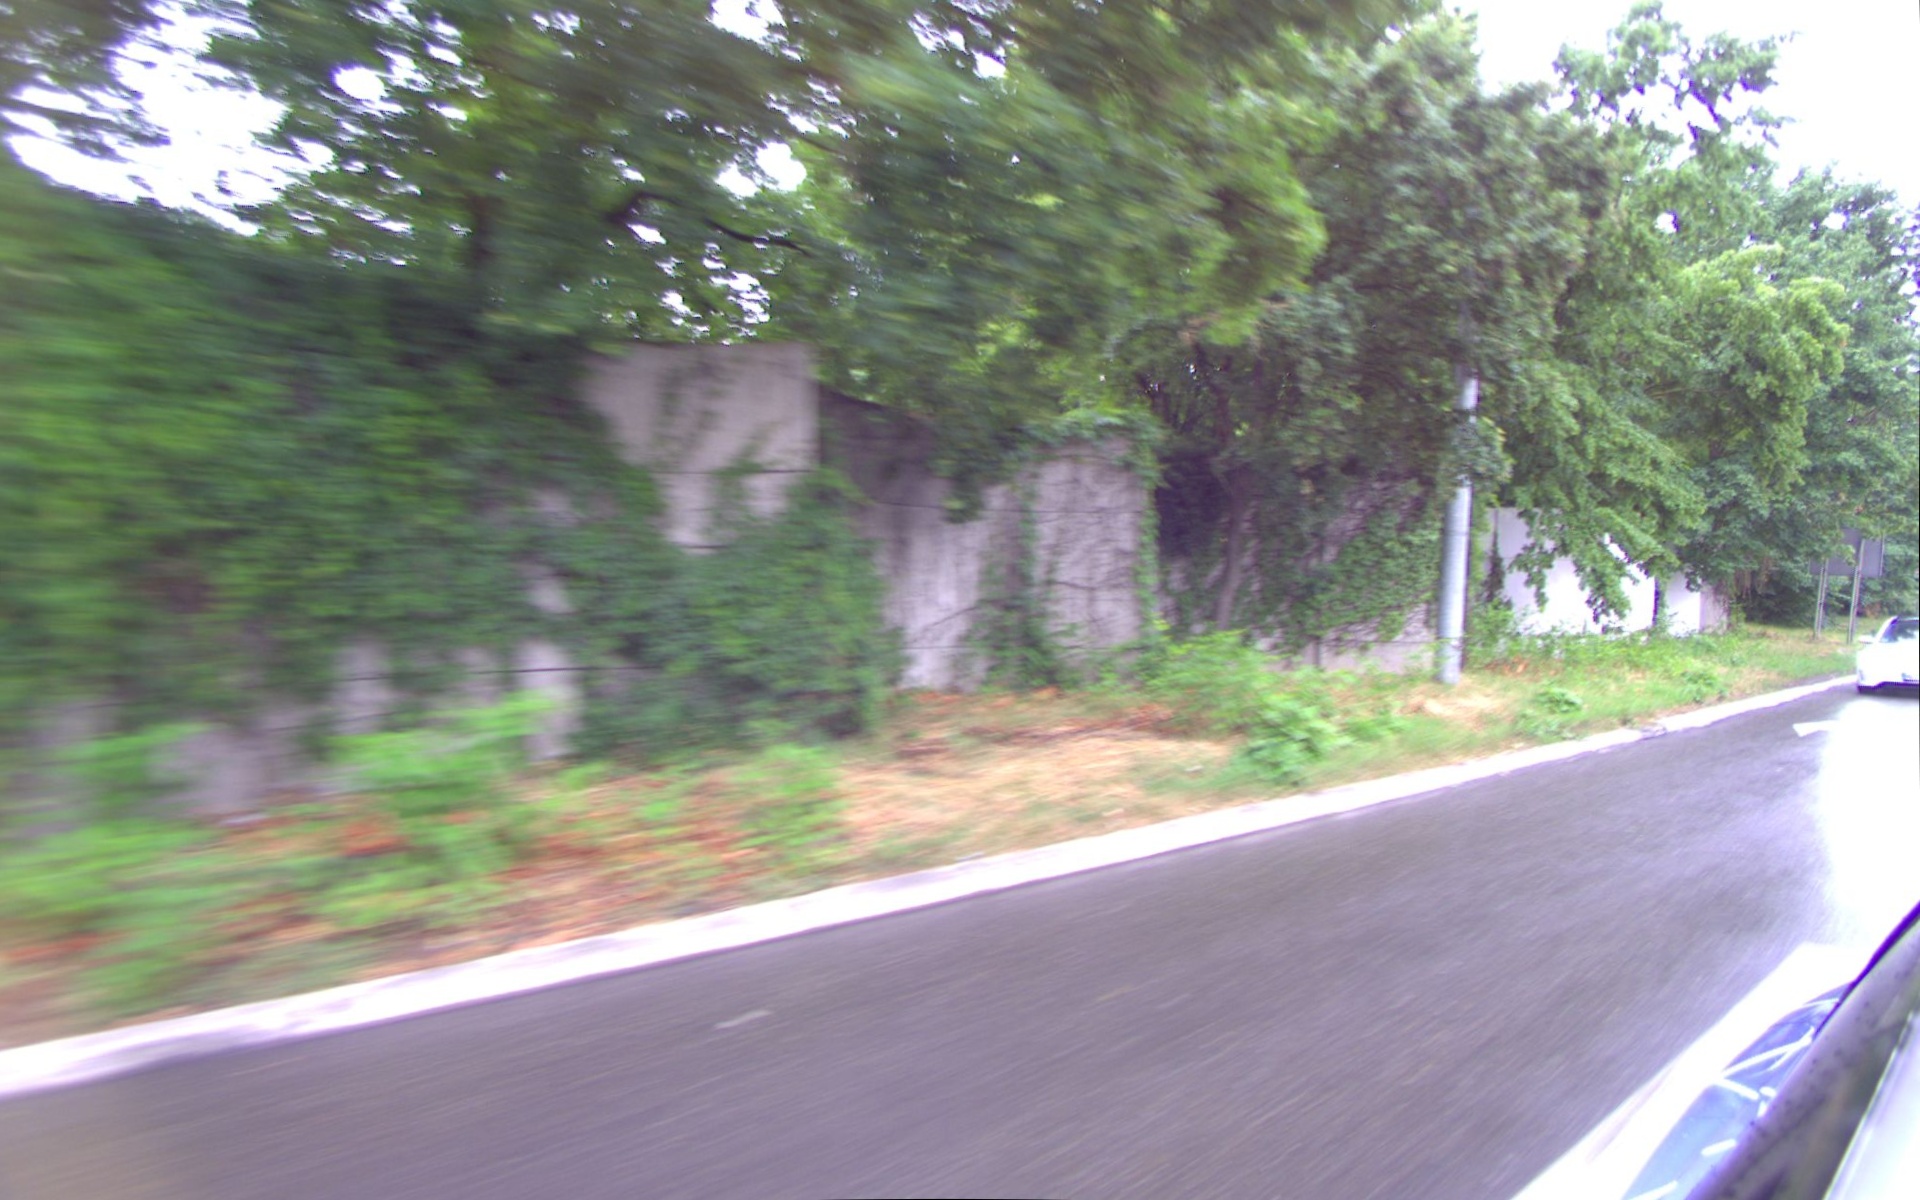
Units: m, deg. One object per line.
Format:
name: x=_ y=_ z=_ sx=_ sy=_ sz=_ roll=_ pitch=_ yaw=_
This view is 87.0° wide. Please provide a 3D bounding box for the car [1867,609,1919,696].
car: x=17.944 y=0.904 z=18.336 sx=4.199 sy=1.451 sz=1.837 roll=0 pitch=0 yaw=-42
